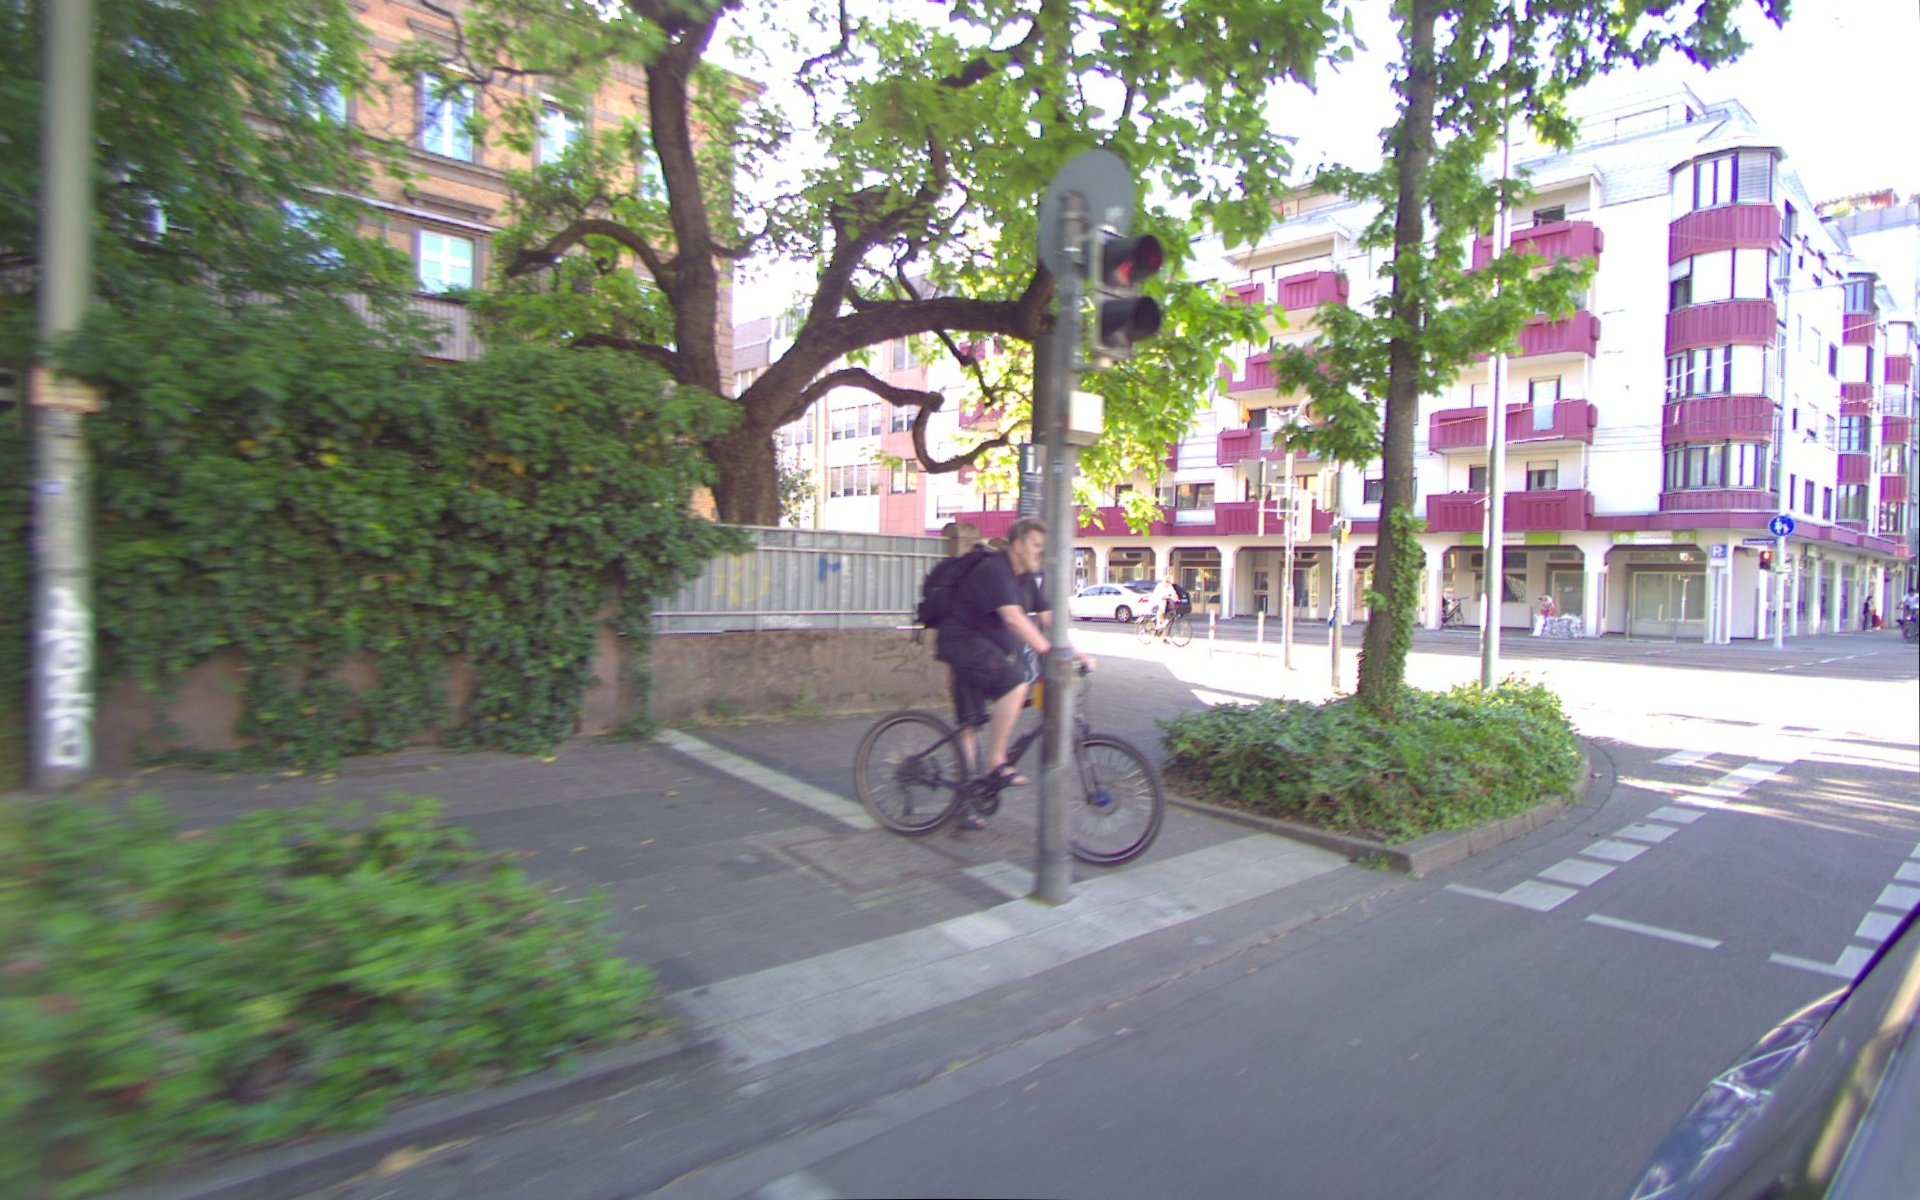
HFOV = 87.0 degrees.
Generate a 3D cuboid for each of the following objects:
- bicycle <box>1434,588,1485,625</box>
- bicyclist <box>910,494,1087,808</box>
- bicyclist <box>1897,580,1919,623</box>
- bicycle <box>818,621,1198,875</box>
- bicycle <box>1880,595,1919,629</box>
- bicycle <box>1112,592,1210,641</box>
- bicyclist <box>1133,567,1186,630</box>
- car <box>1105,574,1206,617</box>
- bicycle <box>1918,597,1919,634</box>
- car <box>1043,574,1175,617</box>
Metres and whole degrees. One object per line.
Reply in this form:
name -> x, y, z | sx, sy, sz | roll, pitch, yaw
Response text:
bicycle -> 17.679, 0.220, 35.877 | 0.603, 1.214, 1.802 | 1, 2, -12
bicyclist -> 0.220, 0.235, 5.405 | 0.695, 1.528, 0.744 | 1, 1, 26
bicyclist -> 35.462, 0.066, 37.180 | 1.056, 1.559, 1.062 | 1, 1, -11
bicycle -> 0.227, 0.700, 5.398 | 1.931, 1.083, 0.636 | 2, 1, 26
bicycle -> 35.349, 0.448, 37.165 | 2.544, 1.198, 0.965 | 1, 1, -11
bicycle -> 5.103, 0.396, 25.746 | 2.321, 1.133, 0.834 | 2, 1, 40
bicyclist -> 5.083, -0.049, 25.761 | 0.924, 1.528, 0.998 | 2, 1, 39
car -> 8.081, -0.227, 42.110 | 1.708, 1.705, 3.902 | 0, 1, -41
bicycle -> 32.308, 0.541, 32.752 | 0.535, 1.214, 1.808 | -1, 3, -34
car -> 5.720, -0.198, 39.236 | 4.883, 1.474, 1.826 | 3, 2, 43
